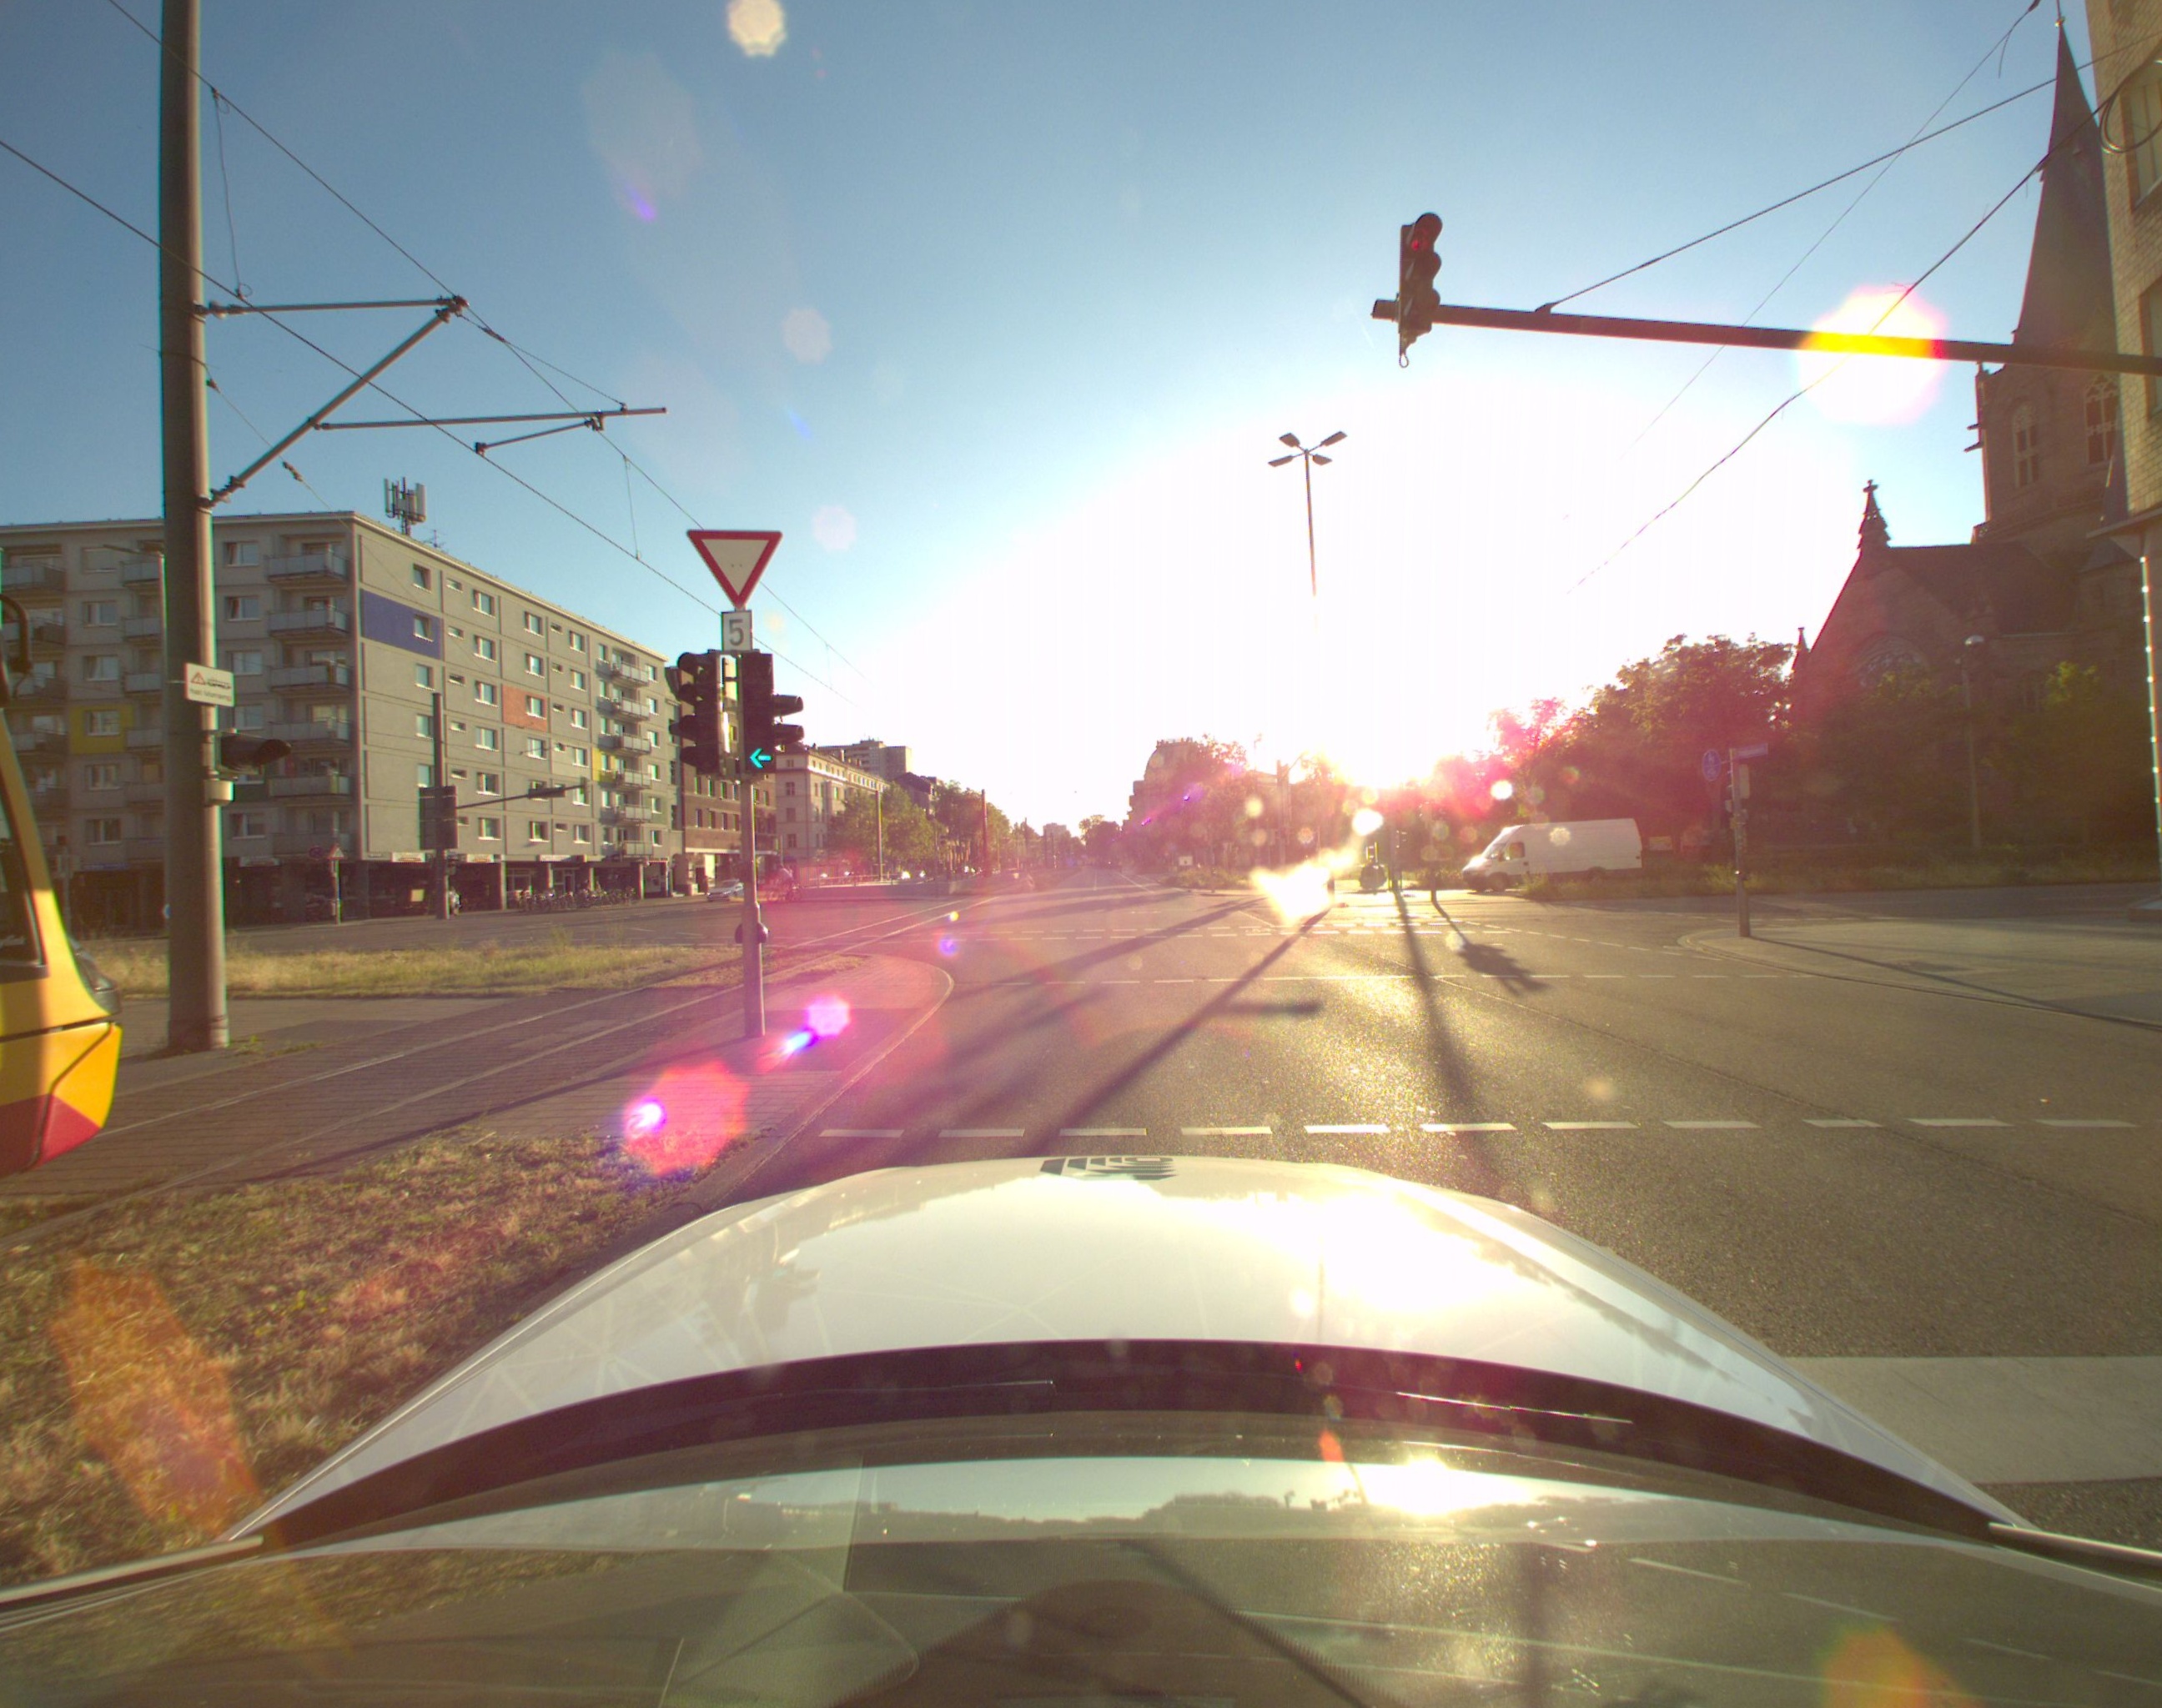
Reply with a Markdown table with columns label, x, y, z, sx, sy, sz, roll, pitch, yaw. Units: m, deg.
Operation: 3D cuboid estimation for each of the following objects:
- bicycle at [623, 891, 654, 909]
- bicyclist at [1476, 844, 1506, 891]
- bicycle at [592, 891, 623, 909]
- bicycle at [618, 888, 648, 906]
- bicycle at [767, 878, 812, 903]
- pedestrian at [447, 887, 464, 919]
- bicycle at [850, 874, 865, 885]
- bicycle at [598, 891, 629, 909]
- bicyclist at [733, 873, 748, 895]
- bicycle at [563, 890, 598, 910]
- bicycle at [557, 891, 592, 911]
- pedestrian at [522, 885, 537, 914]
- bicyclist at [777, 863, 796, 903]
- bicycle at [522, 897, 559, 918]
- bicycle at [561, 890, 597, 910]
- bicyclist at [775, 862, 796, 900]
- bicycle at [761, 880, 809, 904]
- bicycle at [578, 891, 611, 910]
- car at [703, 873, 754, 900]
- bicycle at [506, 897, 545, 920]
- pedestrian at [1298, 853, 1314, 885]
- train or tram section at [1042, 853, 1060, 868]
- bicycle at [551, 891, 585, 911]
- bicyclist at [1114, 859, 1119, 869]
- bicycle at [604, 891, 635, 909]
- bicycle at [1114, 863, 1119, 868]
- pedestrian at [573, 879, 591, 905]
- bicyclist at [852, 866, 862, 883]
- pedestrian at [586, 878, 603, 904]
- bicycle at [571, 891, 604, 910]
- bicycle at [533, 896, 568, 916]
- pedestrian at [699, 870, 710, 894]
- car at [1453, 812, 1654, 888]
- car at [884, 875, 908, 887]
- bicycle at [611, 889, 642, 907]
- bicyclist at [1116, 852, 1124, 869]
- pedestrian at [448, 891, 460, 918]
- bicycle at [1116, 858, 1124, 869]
| label | x | y | z | sx | sy | sz | roll | pitch | yaw |
| --- | --- | --- | --- | --- | --- | --- | --- | --- | --- |
| bicycle | -30.996 | 3.254 | 57.067 | 1.683 | 1.170 | 0.749 | -2 | -1 | 3 |
| bicyclist | 18.051 | 0.591 | 35.855 | 0.894 | 2.014 | 0.723 | -2 | -1 | 7 |
| bicycle | -31.168 | 3.049 | 53.627 | 1.748 | 1.117 | 0.552 | -2 | -1 | 2 |
| bicycle | -30.961 | 2.968 | 56.293 | 1.683 | 1.179 | 0.749 | -2 | -1 | 3 |
| bicycle | -13.867 | 1.742 | 38.782 | 1.905 | 1.075 | 0.628 | -2 | -1 | -17 |
| pedestrian | -32.515 | 2.549 | 42.340 | 0.575 | 1.620 | 0.598 | -2 | -1 | -29 |
| bicycle | -26.299 | 2.974 | 95.839 | 0.809 | 1.201 | 2.415 | -2 | -1 | 4 |
| bicycle | -31.127 | 3.062 | 54.212 | 1.754 | 1.119 | 0.568 | -2 | -1 | 2 |
| bicyclist | -27.546 | 2.442 | 65.847 | 0.697 | 1.743 | 0.794 | -2 | -1 | 13 |
| bicycle | -31.292 | 2.884 | 50.957 | 1.782 | 1.191 | 0.652 | -2 | -1 | 1 |
| bicycle | -31.282 | 2.899 | 50.306 | 1.762 | 1.182 | 0.568 | -2 | -1 | 1 |
| pedestrian | -33.222 | 2.745 | 49.026 | 0.581 | 1.684 | 0.543 | -2 | -1 | -19 |
| bicyclist | -14.017 | 1.376 | 38.742 | 0.795 | 1.818 | 0.642 | -2 | -1 | -18 |
| bicycle | -32.196 | 3.186 | 48.485 | 1.770 | 1.142 | 0.608 | -2 | -1 | 1 |
| bicycle | -31.919 | 2.936 | 51.802 | 1.824 | 1.160 | 0.640 | -2 | -1 | 1 |
| bicyclist | -14.728 | 1.344 | 40.630 | 0.878 | 1.818 | 0.535 | -2 | -1 | -16 |
| bicycle | -14.755 | 1.890 | 40.604 | 2.168 | 1.083 | 0.536 | -1 | -1 | -16 |
| bicycle | -31.694 | 3.042 | 53.082 | 1.764 | 1.136 | 0.606 | -2 | -1 | 2 |
| car | -24.107 | 2.204 | 55.806 | 1.684 | 1.618 | 3.999 | -3 | -1 | 0 |
| bicycle | -32.303 | 3.160 | 47.377 | 1.788 | 1.208 | 0.638 | -2 | -1 | 0 |
| pedestrian | 13.381 | 0.886 | 48.384 | 0.826 | 1.803 | 0.814 | -2 | -1 | 17 |
| train or tram section | -8.000 | 1.777 | 215.845 | 4.375 | 3.850 | 11.399 | -2 | -1 | -2 |
| bicycle | -31.305 | 2.877 | 49.708 | 1.759 | 1.168 | 0.540 | -2 | -1 | 2 |
| bicyclist | 7.138 | 1.941 | 165.733 | 0.922 | 2.014 | 0.851 | -2 | -1 | 1 |
| bicycle | -31.070 | 3.082 | 54.854 | 1.719 | 1.124 | 0.634 | -2 | -2 | 3 |
| bicycle | 7.137 | 2.360 | 165.751 | 0.921 | 1.111 | 2.334 | -2 | -1 | 2 |
| pedestrian | -35.472 | 2.694 | 57.935 | 0.826 | 1.813 | 0.718 | -1 | -1 | -9 |
| bicyclist | -26.341 | 2.439 | 95.938 | 0.793 | 2.014 | 0.924 | -2 | -1 | 3 |
| pedestrian | -34.578 | 2.617 | 57.877 | 0.785 | 1.841 | 0.733 | -2 | -1 | -7 |
| bicycle | -31.746 | 2.992 | 52.400 | 1.769 | 1.159 | 0.606 | -2 | -1 | 1 |
| bicycle | -32.018 | 3.142 | 49.150 | 1.750 | 1.139 | 0.600 | -2 | -1 | 2 |
| pedestrian | -34.153 | 2.535 | 73.888 | 0.599 | 2.178 | 0.792 | -2 | -1 | 1 |
| car | 19.493 | -0.151 | 33.845 | 6.981 | 2.828 | 2.094 | -2 | -1 | 3 |
| car | -24.360 | 3.573 | 107.246 | 1.810 | 1.420 | 4.006 | -2 | -1 | 5 |
| bicycle | -30.994 | 2.990 | 55.539 | 1.683 | 1.153 | 0.706 | -2 | -1 | 3 |
| bicyclist | 5.439 | 0.914 | 113.477 | 1.078 | 2.276 | 0.986 | -2 | -1 | 1 |
| pedestrian | -32.993 | 2.664 | 42.853 | 0.383 | 1.383 | 0.392 | -2 | -1 | -26 |
| bicycle | 5.445 | 1.336 | 113.472 | 1.094 | 1.399 | 2.832 | -2 | -1 | 2 |
